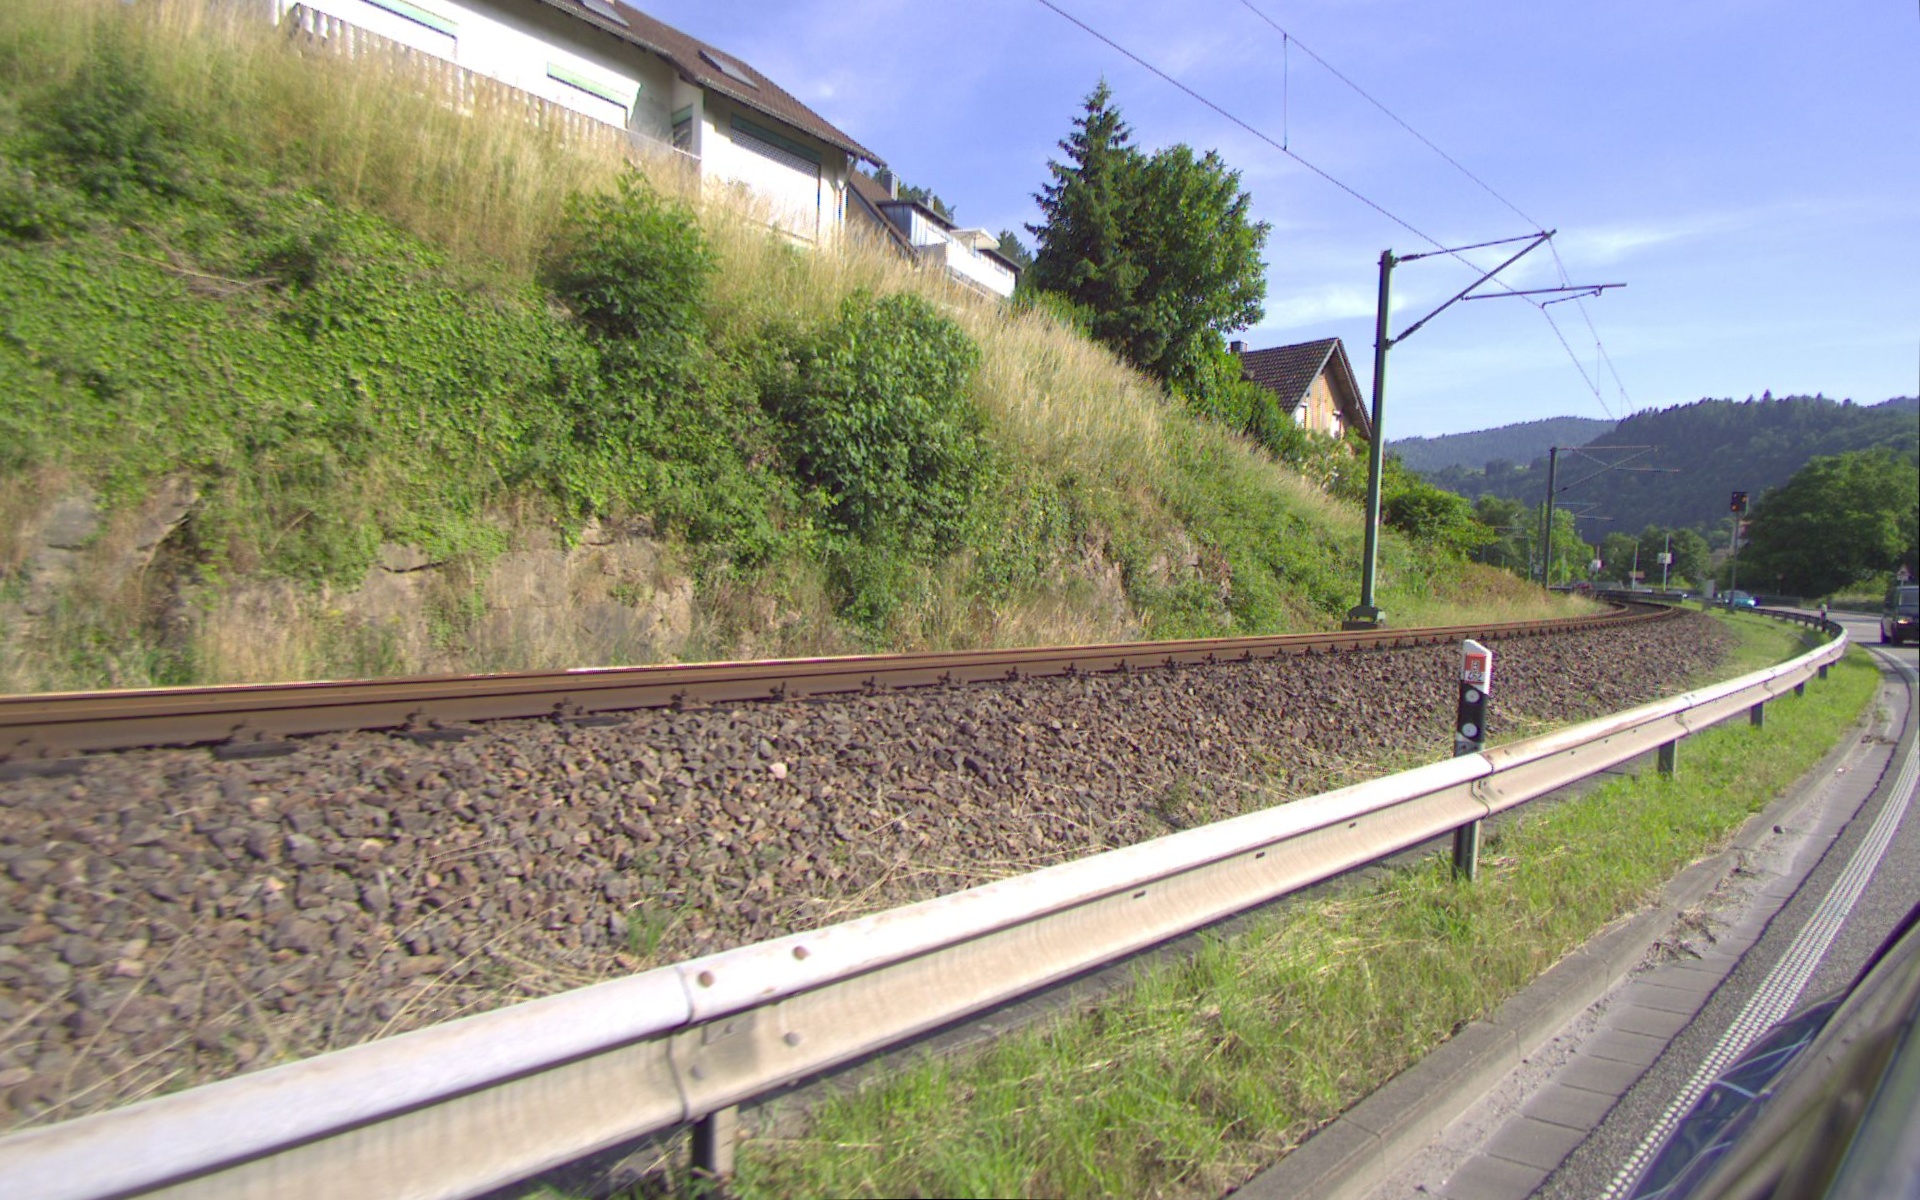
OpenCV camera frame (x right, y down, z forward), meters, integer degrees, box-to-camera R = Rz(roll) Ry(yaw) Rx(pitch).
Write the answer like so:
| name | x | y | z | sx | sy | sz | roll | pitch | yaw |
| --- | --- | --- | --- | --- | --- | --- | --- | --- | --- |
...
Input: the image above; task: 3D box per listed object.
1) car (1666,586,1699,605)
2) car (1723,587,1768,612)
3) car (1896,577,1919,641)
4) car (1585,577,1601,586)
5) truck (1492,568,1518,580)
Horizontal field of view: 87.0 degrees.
| name | x | y | z | sx | sy | sz | roll | pitch | yaw |
| --- | --- | --- | --- | --- | --- | --- | --- | --- | --- |
| car | 72.207 | -0.490 | 101.220 | 1.866 | 1.767 | 4.144 | 1 | 1 | 25 |
| car | 59.186 | -0.055 | 76.294 | 1.868 | 1.767 | 4.140 | 1 | 1 | 27 |
| car | 31.326 | 0.249 | 32.275 | 2.011 | 1.940 | 4.248 | 0 | 1 | 41 |
| car | 104.666 | -3.045 | 167.403 | 1.620 | 1.365 | 4.078 | 0 | 2 | 23 |
| truck | 113.488 | -5.407 | 210.828 | 1.846 | 2.314 | 4.731 | 1 | 1 | -17 |
